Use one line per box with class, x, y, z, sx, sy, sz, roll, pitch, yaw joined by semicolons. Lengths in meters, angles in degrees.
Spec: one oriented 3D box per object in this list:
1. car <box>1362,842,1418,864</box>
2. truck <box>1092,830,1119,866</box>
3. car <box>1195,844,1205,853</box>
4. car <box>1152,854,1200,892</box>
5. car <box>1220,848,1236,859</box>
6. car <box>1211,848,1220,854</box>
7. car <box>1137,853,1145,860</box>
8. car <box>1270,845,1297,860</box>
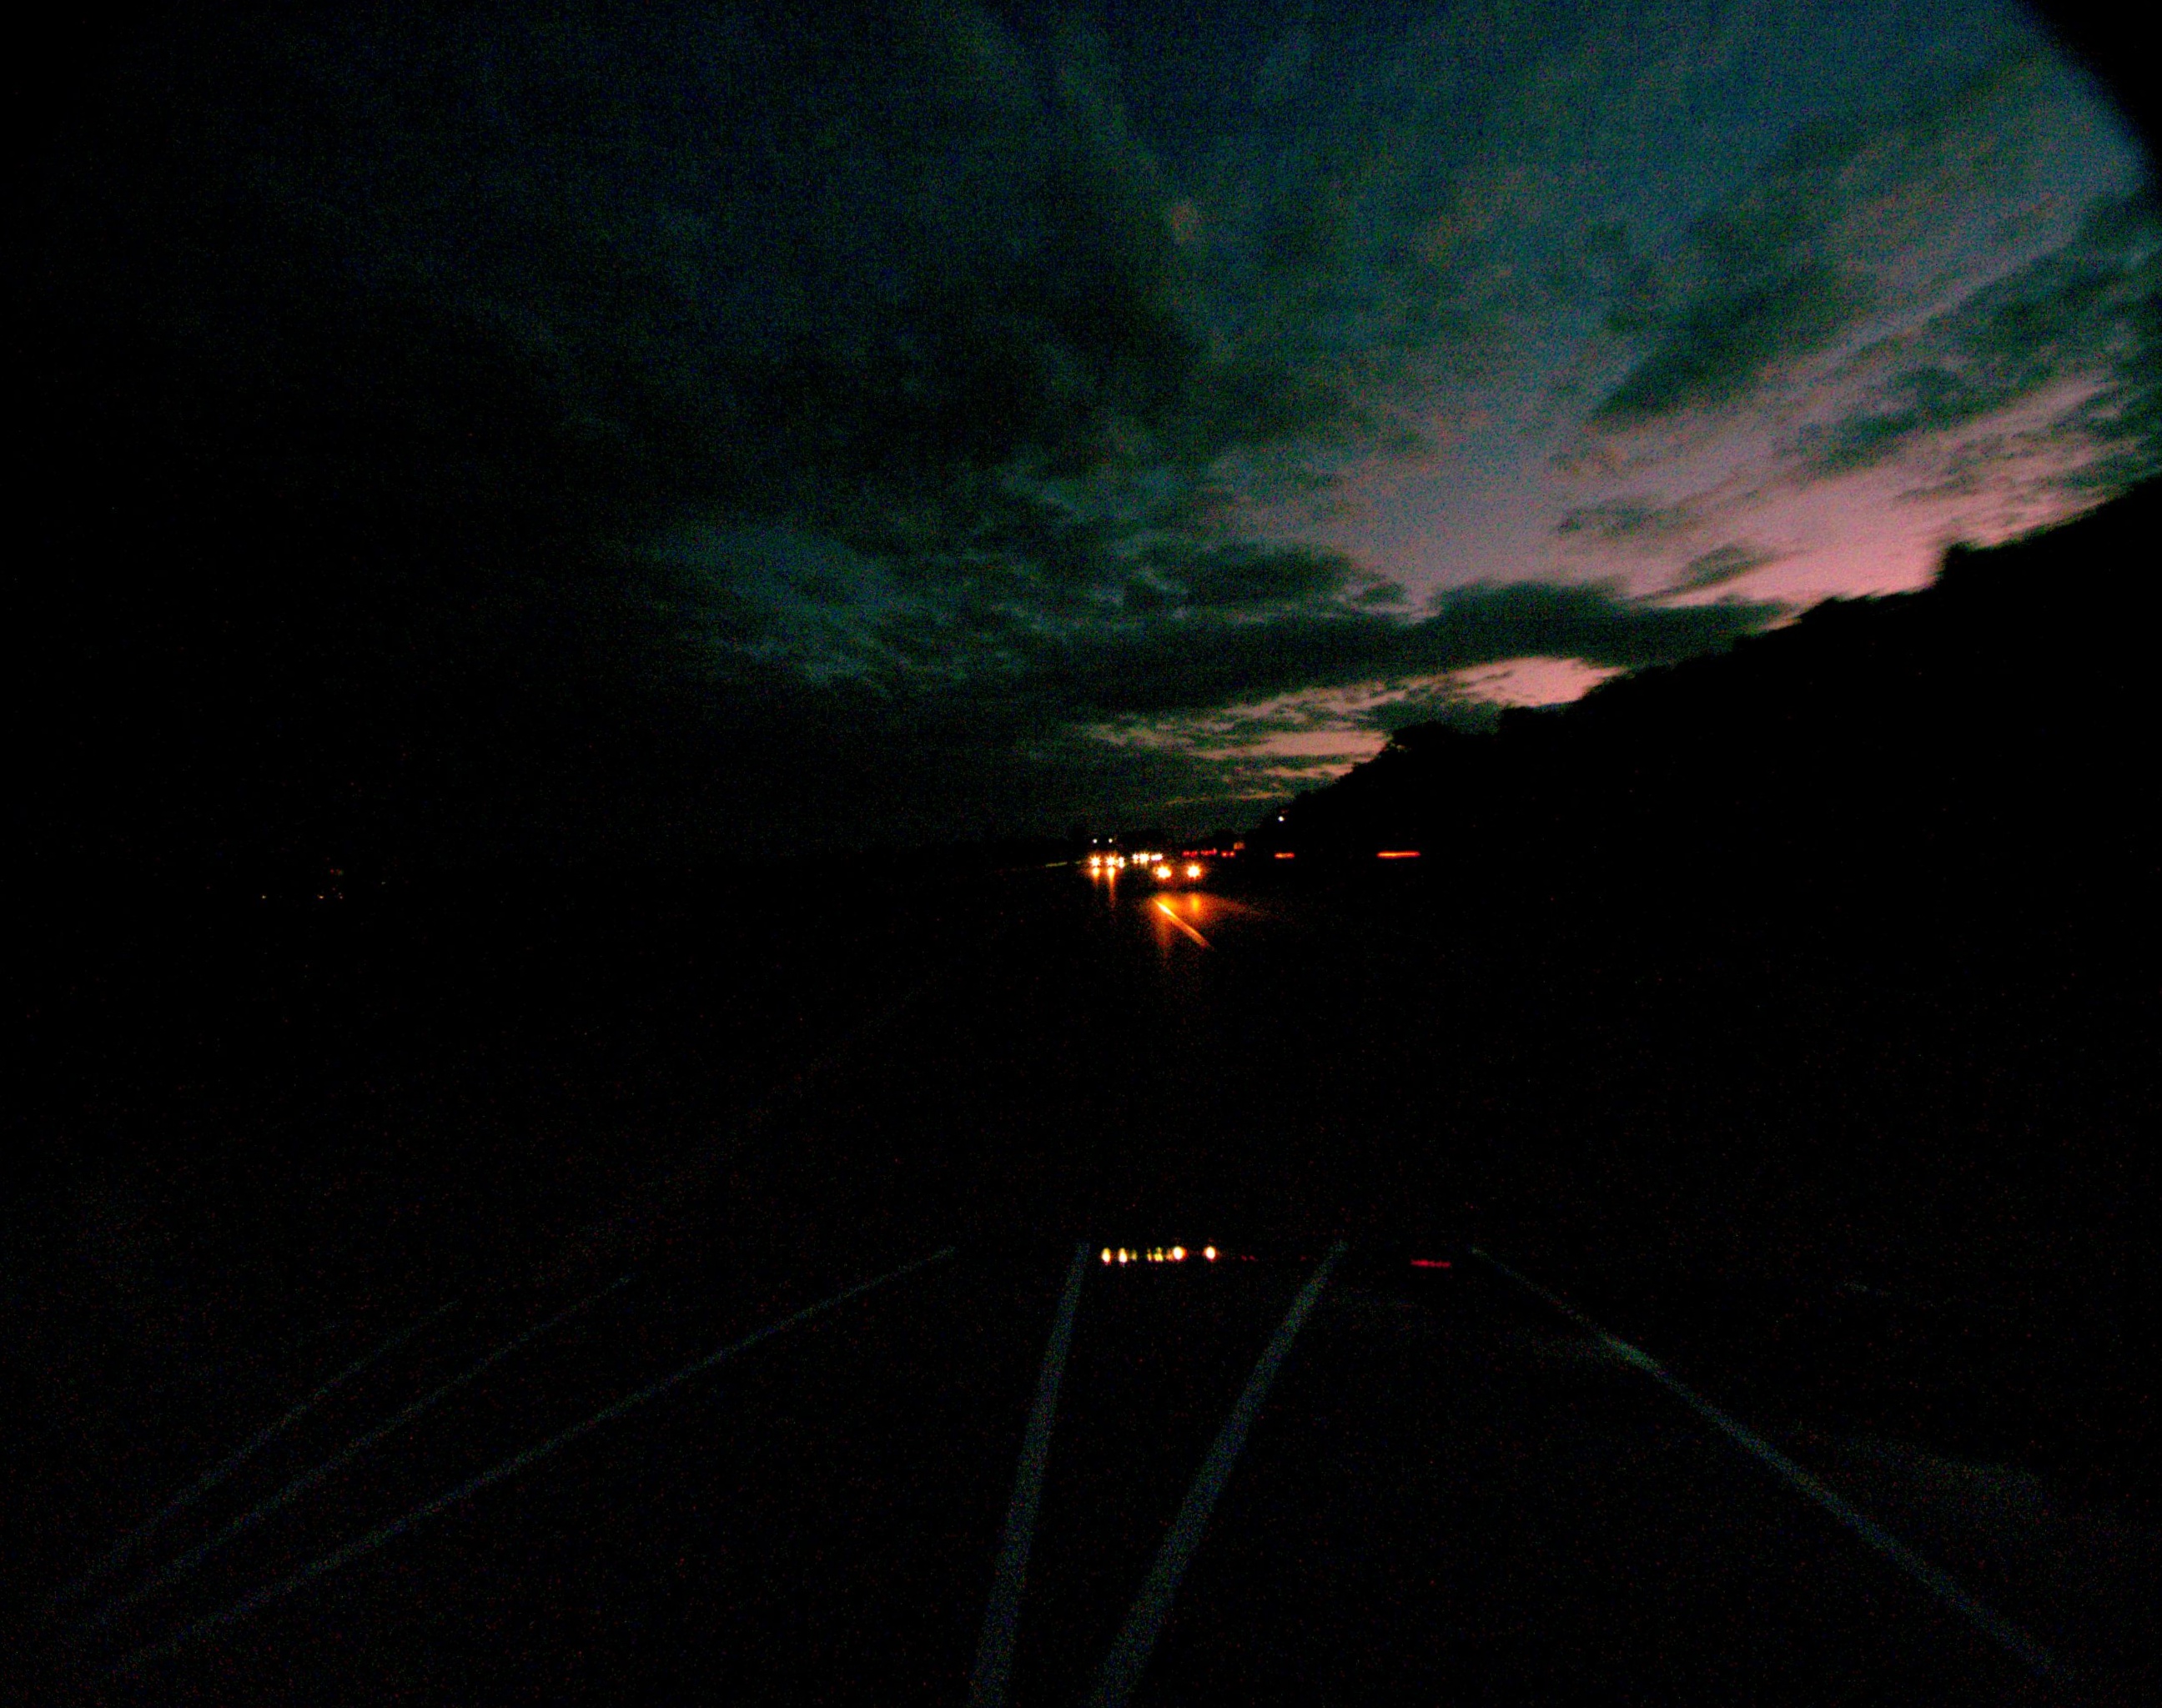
car;20.564;-0.065;50.785;1.839;1.328;4.909;-3;0;1
truck;3.225;-0.801;98.248;3.026;4.372;11.618;0;1;4
car;34.728;-1.637;221.957;2.331;2.417;7.096;-3;0;4
car;4.098;0.777;33.226;1.717;1.471;4.000;-3;1;3
car;25.481;-0.115;131.680;1.998;1.780;4.840;-3;1;2
car;40.459;-1.020;228.206;1.998;1.683;4.971;-3;0;4
car;14.417;0.649;181.628;1.652;1.654;3.776;-3;1;6
car;22.171;-0.183;83.326;1.998;1.445;3.835;-3;1;2
